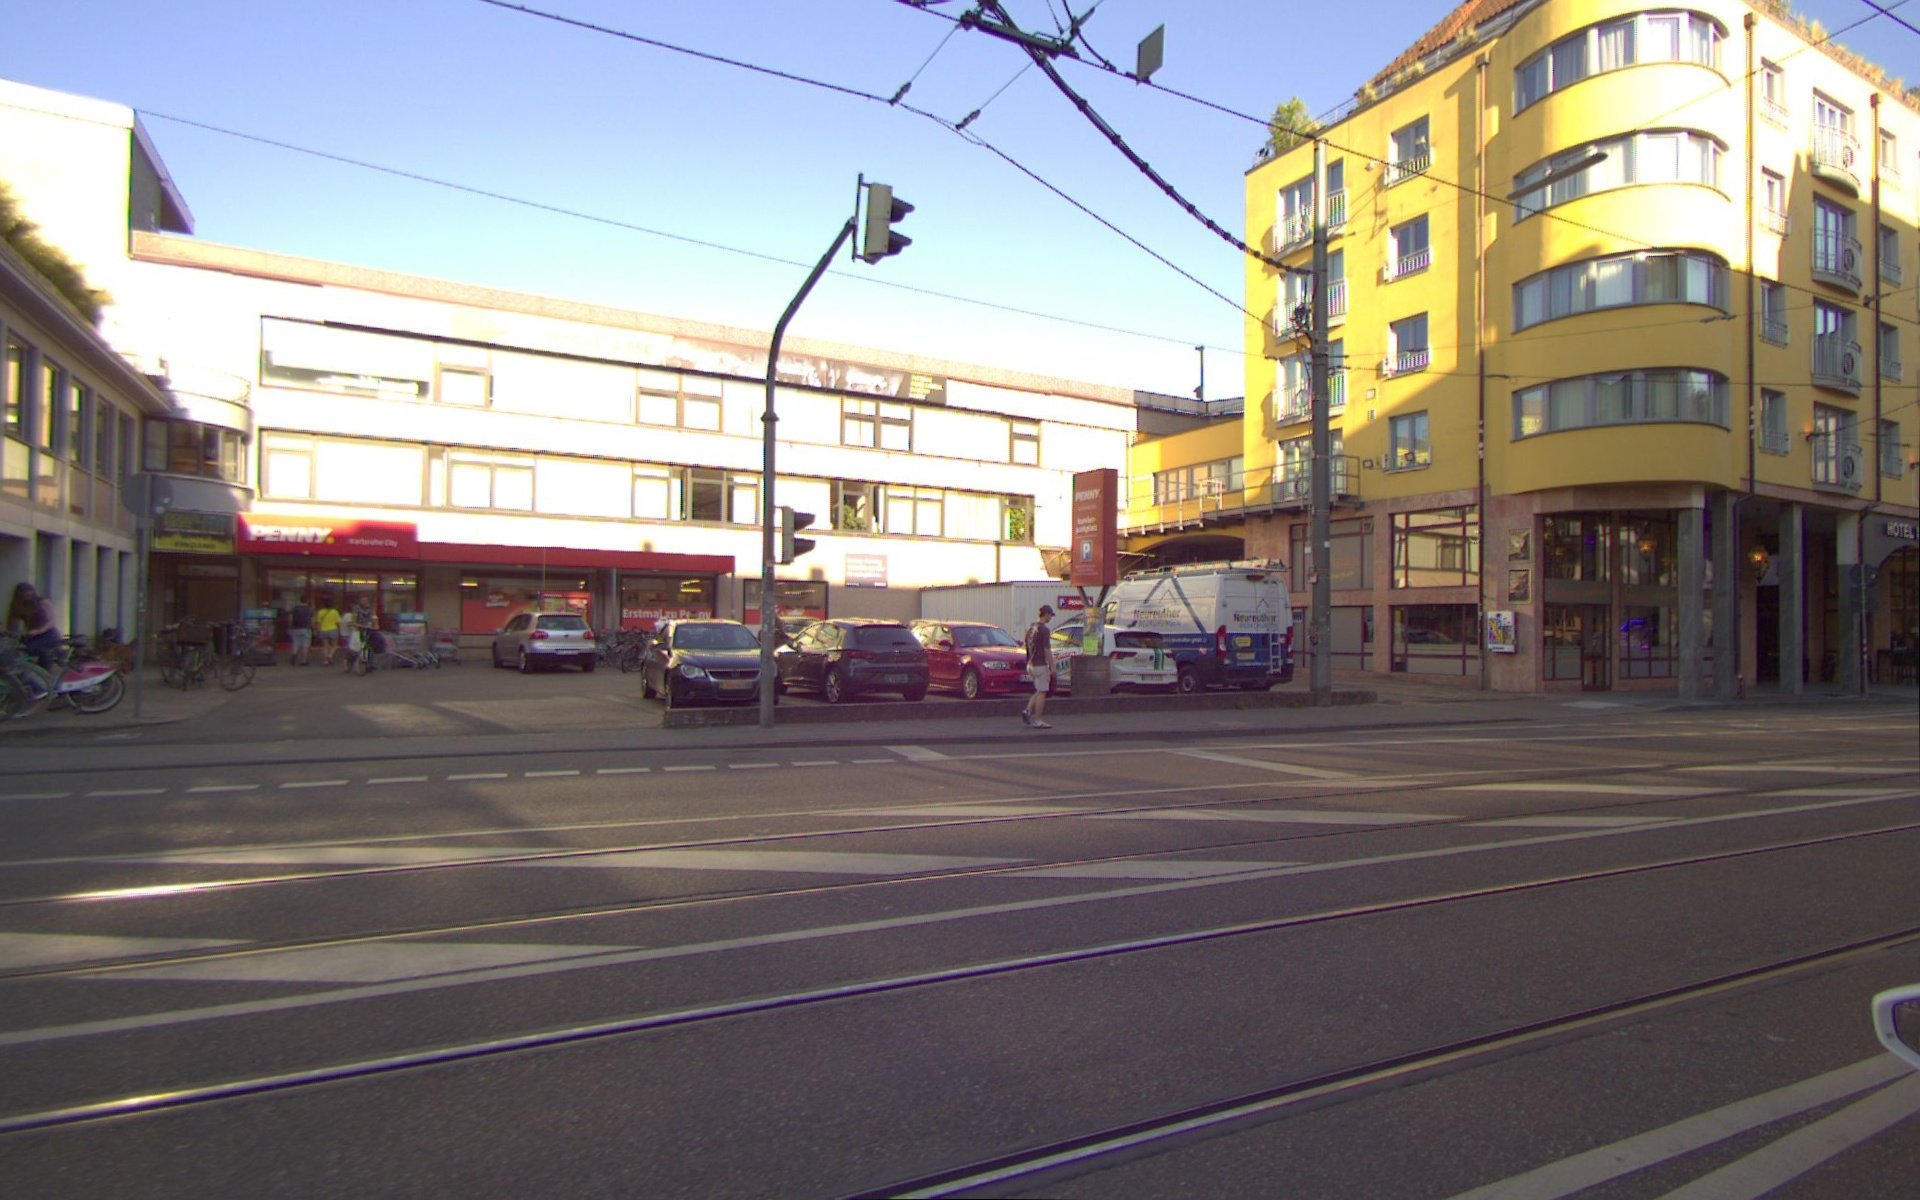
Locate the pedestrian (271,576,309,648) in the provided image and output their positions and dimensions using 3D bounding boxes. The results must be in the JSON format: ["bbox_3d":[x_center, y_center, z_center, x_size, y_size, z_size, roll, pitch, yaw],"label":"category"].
[{"bbox_3d":[-16.440,0.306,24.652,0.695,1.719,0.621,1,-2,-29],"label":"pedestrian"}]

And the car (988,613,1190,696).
[{"bbox_3d":[2.492,1.057,20.608,1.856,1.495,4.571,1,-2,-27],"label":"car"}]

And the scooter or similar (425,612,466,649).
[{"bbox_3d":[-14.115,0.824,27.522,0.905,0.974,1.354,2,-2,-30],"label":"scooter or similar"}]

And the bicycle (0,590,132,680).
[{"bbox_3d":[-12.521,0.476,13.716,1.811,1.203,0.446,1,-2,-32],"label":"bicycle"}]

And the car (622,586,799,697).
[{"bbox_3d":[-4.417,0.683,17.160,1.856,1.604,4.876,1,-2,-27],"label":"car"}]

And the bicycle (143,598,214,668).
[{"bbox_3d":[-13.966,0.586,17.941,1.801,1.203,0.455,-1,-2,35],"label":"bicycle"}]

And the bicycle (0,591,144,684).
[{"bbox_3d":[-12.118,0.497,13.424,1.811,1.203,0.446,1,-2,-32],"label":"bicycle"}]

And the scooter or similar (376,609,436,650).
[{"bbox_3d":[-13.653,0.724,24.757,1.233,0.974,0.908,2,-1,-30],"label":"scooter or similar"}]

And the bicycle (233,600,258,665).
[{"bbox_3d":[-13.673,0.619,19.234,0.346,1.203,1.814,1,-2,-34],"label":"bicycle"}]

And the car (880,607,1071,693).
[{"bbox_3d":[0.161,0.940,19.829,1.856,1.495,4.571,1,-2,-27],"label":"car"}]

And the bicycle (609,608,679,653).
[{"bbox_3d":[-8.614,0.832,27.402,1.804,1.203,0.430,1,-2,-22],"label":"bicycle"}]

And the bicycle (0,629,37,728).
[{"bbox_3d":[-12.371,0.951,12.069,1.811,1.203,0.446,1,-2,-32],"label":"bicycle"}]

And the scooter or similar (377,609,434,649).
[{"bbox_3d":[-14.115,0.734,25.590,1.233,0.974,0.908,2,-1,-30],"label":"scooter or similar"}]

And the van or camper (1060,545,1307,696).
[{"bbox_3d":[4.658,0.477,22.056,2.286,2.864,5.586,1,-2,-27],"label":"van or camper"}]

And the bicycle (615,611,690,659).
[{"bbox_3d":[-7.874,0.890,25.721,1.804,1.203,0.430,1,-2,-22],"label":"bicycle"}]

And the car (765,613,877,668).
[{"bbox_3d":[-4.230,1.181,30.126,1.977,1.528,3.968,2,-2,-30],"label":"car"}]

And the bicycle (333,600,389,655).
[{"bbox_3d":[-13.652,0.629,22.869,0.679,1.186,1.807,2,-2,-45],"label":"bicycle"}]

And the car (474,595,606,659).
[{"bbox_3d":[-10.888,0.704,25.873,1.864,1.495,4.550,2,-2,-40],"label":"car"}]

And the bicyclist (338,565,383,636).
[{"bbox_3d":[-13.664,0.028,22.904,0.687,1.570,0.826,2,-2,-45],"label":"bicyclist"}]

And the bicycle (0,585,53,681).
[{"bbox_3d":[-12.566,0.406,12.510,1.811,1.203,0.440,1,-2,-32],"label":"bicycle"}]

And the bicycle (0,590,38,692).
[{"bbox_3d":[-12.017,0.473,11.703,1.813,1.203,0.437,1,-2,-35],"label":"bicycle"}]

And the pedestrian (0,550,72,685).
[{"bbox_3d":[-12.239,0.236,13.218,0.675,1.719,0.677,1,-2,-30],"label":"pedestrian"}]

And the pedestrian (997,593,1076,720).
[{"bbox_3d":[1.160,0.849,15.268,0.898,1.856,0.830,1,-2,-29],"label":"pedestrian"}]

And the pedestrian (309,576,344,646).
[{"bbox_3d":[-15.825,0.291,25.115,0.675,1.719,0.674,1,-2,-29],"label":"pedestrian"}]

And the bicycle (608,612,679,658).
[{"bbox_3d":[-8.474,0.938,26.914,1.804,1.203,0.430,1,-2,-22],"label":"bicycle"}]

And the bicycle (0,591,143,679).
[{"bbox_3d":[-12.714,0.492,14.140,1.811,1.203,0.446,1,-2,-32],"label":"bicycle"}]

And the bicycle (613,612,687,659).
[{"bbox_3d":[-8.087,0.925,26.204,1.804,1.203,0.430,1,-2,-22],"label":"bicycle"}]

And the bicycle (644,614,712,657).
[{"bbox_3d":[-8.043,1.013,28.670,1.804,1.203,0.430,1,-2,-22],"label":"bicycle"}]

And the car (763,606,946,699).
[{"bbox_3d":[-2.100,0.920,18.641,1.856,1.495,4.571,1,-2,-27],"label":"car"}]
